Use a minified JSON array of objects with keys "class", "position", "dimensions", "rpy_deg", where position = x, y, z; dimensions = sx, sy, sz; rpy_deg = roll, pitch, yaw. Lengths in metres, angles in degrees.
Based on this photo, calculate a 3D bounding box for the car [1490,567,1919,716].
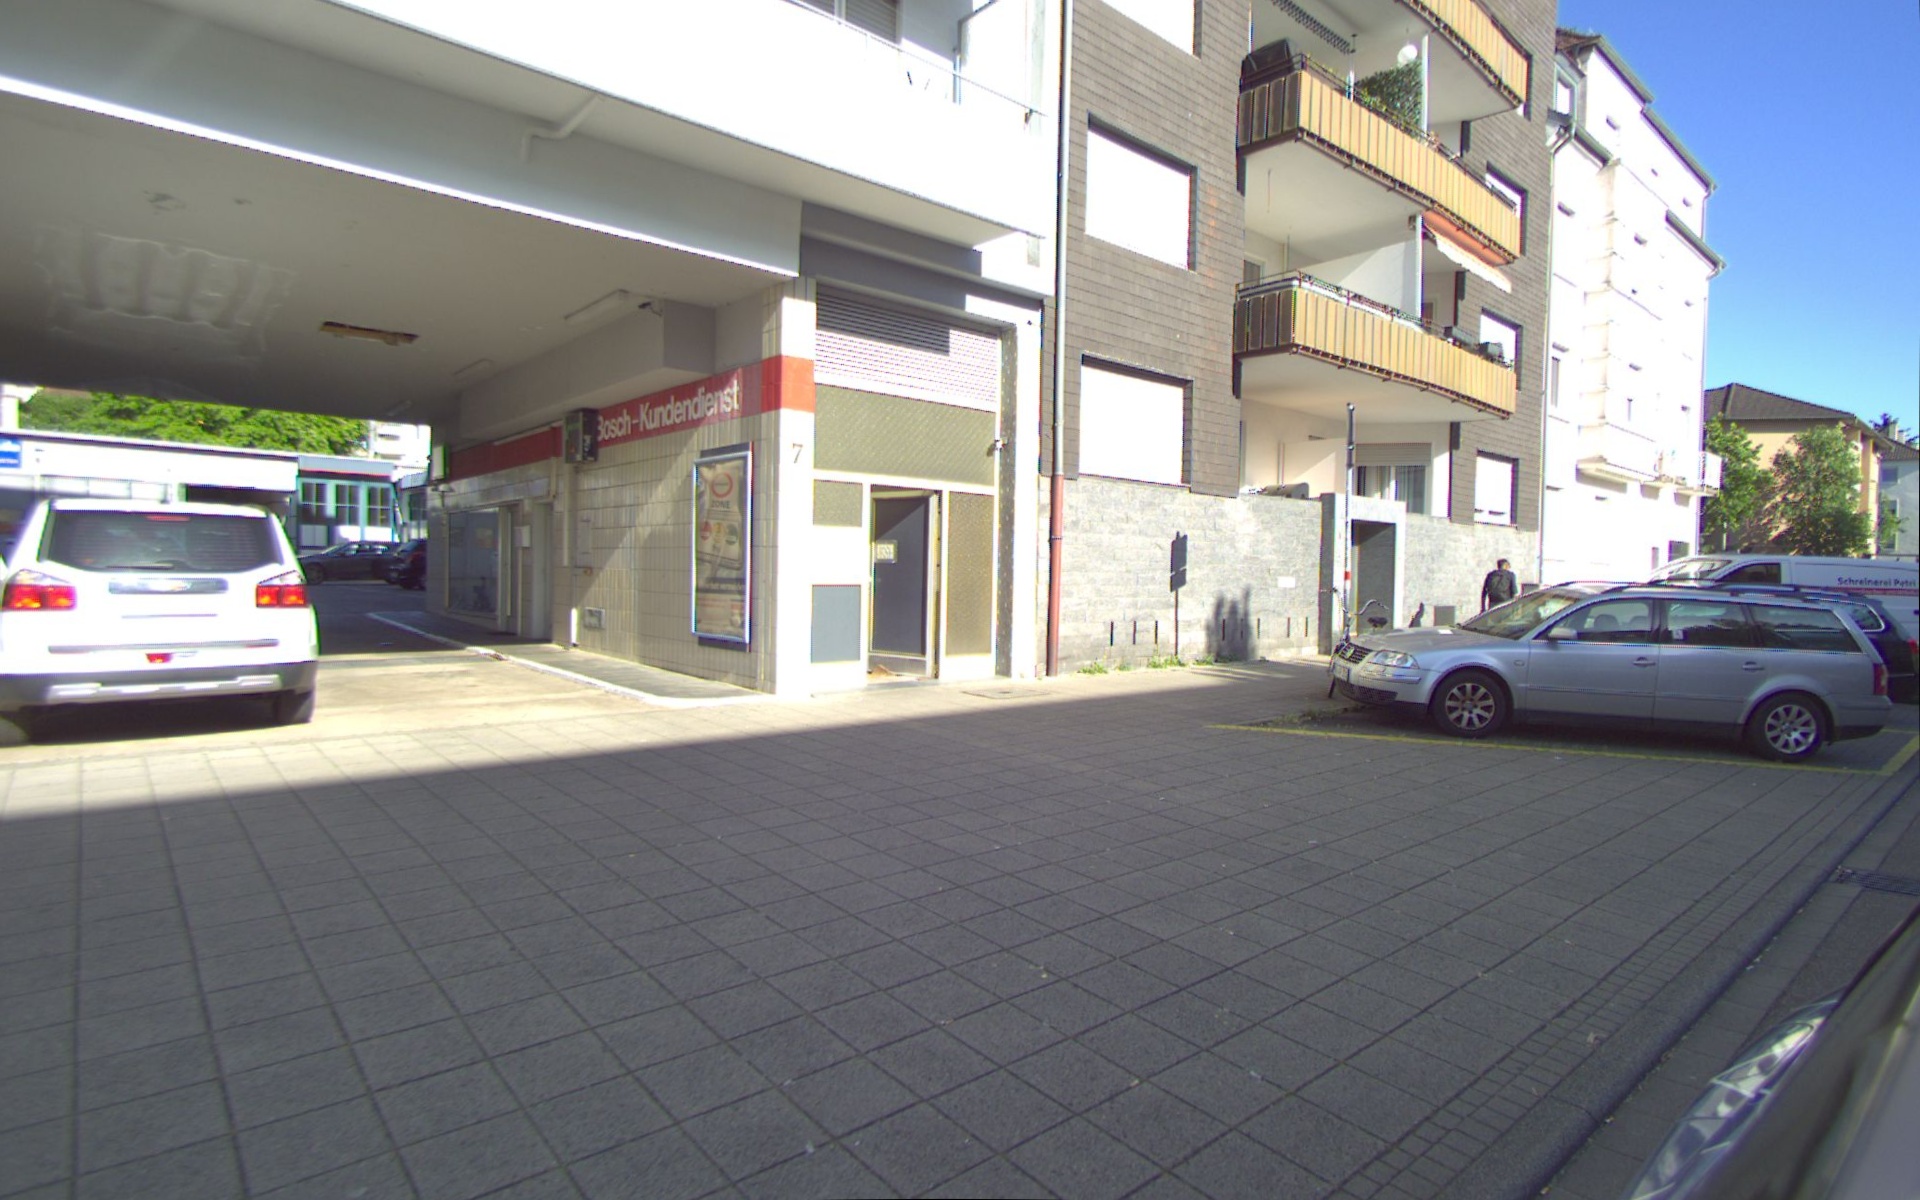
[{"class":"car","position":[8.952,0.423,12.068],"dimensions":[4.249,1.531,1.756],"rpy_deg":[1,3,4]}]

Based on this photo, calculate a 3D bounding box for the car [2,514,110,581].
[{"class":"car","position":[-23.661,-1.326,26.445],"dimensions":[3.989,1.605,1.886],"rpy_deg":[2,1,45]}]

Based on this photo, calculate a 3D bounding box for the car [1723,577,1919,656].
[{"class":"car","position":[19.151,0.321,21.593],"dimensions":[4.112,1.515,1.815],"rpy_deg":[1,3,16]}]

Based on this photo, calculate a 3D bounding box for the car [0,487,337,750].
[{"class":"car","position":[-6.472,-0.016,8.015],"dimensions":[1.945,1.531,4.400],"rpy_deg":[-1,4,-41]}]

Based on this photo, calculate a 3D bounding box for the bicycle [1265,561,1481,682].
[{"class":"bicycle","position":[4.634,0.245,11.380],"dimensions":[2.214,1.269,0.708],"rpy_deg":[2,0,-13]}]

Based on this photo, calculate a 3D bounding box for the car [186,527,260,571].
[{"class":"car","position":[-28.734,-1.956,39.418],"dimensions":[1.884,1.605,3.992],"rpy_deg":[0,1,-43]}]

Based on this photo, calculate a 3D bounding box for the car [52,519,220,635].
[{"class":"car","position":[-12.370,-0.395,15.138],"dimensions":[1.706,1.494,3.994],"rpy_deg":[-3,4,-41]}]

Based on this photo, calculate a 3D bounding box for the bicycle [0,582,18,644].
[{"class":"bicycle","position":[-10.924,0.140,10.941],"dimensions":[1.059,0.673,0.323],"rpy_deg":[0,2,-39]}]

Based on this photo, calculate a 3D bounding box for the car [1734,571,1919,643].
[{"class":"car","position":[21.735,0.186,24.039],"dimensions":[4.803,1.481,1.965],"rpy_deg":[4,2,14]}]

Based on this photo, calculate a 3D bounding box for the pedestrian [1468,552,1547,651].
[{"class":"pedestrian","position":[9.257,0.009,17.108],"dimensions":[0.872,1.613,0.835],"rpy_deg":[0,3,-36]}]

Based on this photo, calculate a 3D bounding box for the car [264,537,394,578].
[{"class":"car","position":[-19.676,-1.332,31.585],"dimensions":[3.168,1.182,1.997],"rpy_deg":[-4,4,-41]}]

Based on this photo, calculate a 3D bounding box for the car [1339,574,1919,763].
[{"class":"car","position":[6.240,0.558,9.673],"dimensions":[4.567,1.483,1.689],"rpy_deg":[1,3,7]}]

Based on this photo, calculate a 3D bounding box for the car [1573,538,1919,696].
[{"class":"car","position":[11.667,0.170,14.407],"dimensions":[4.455,1.920,2.047],"rpy_deg":[3,4,8]}]
